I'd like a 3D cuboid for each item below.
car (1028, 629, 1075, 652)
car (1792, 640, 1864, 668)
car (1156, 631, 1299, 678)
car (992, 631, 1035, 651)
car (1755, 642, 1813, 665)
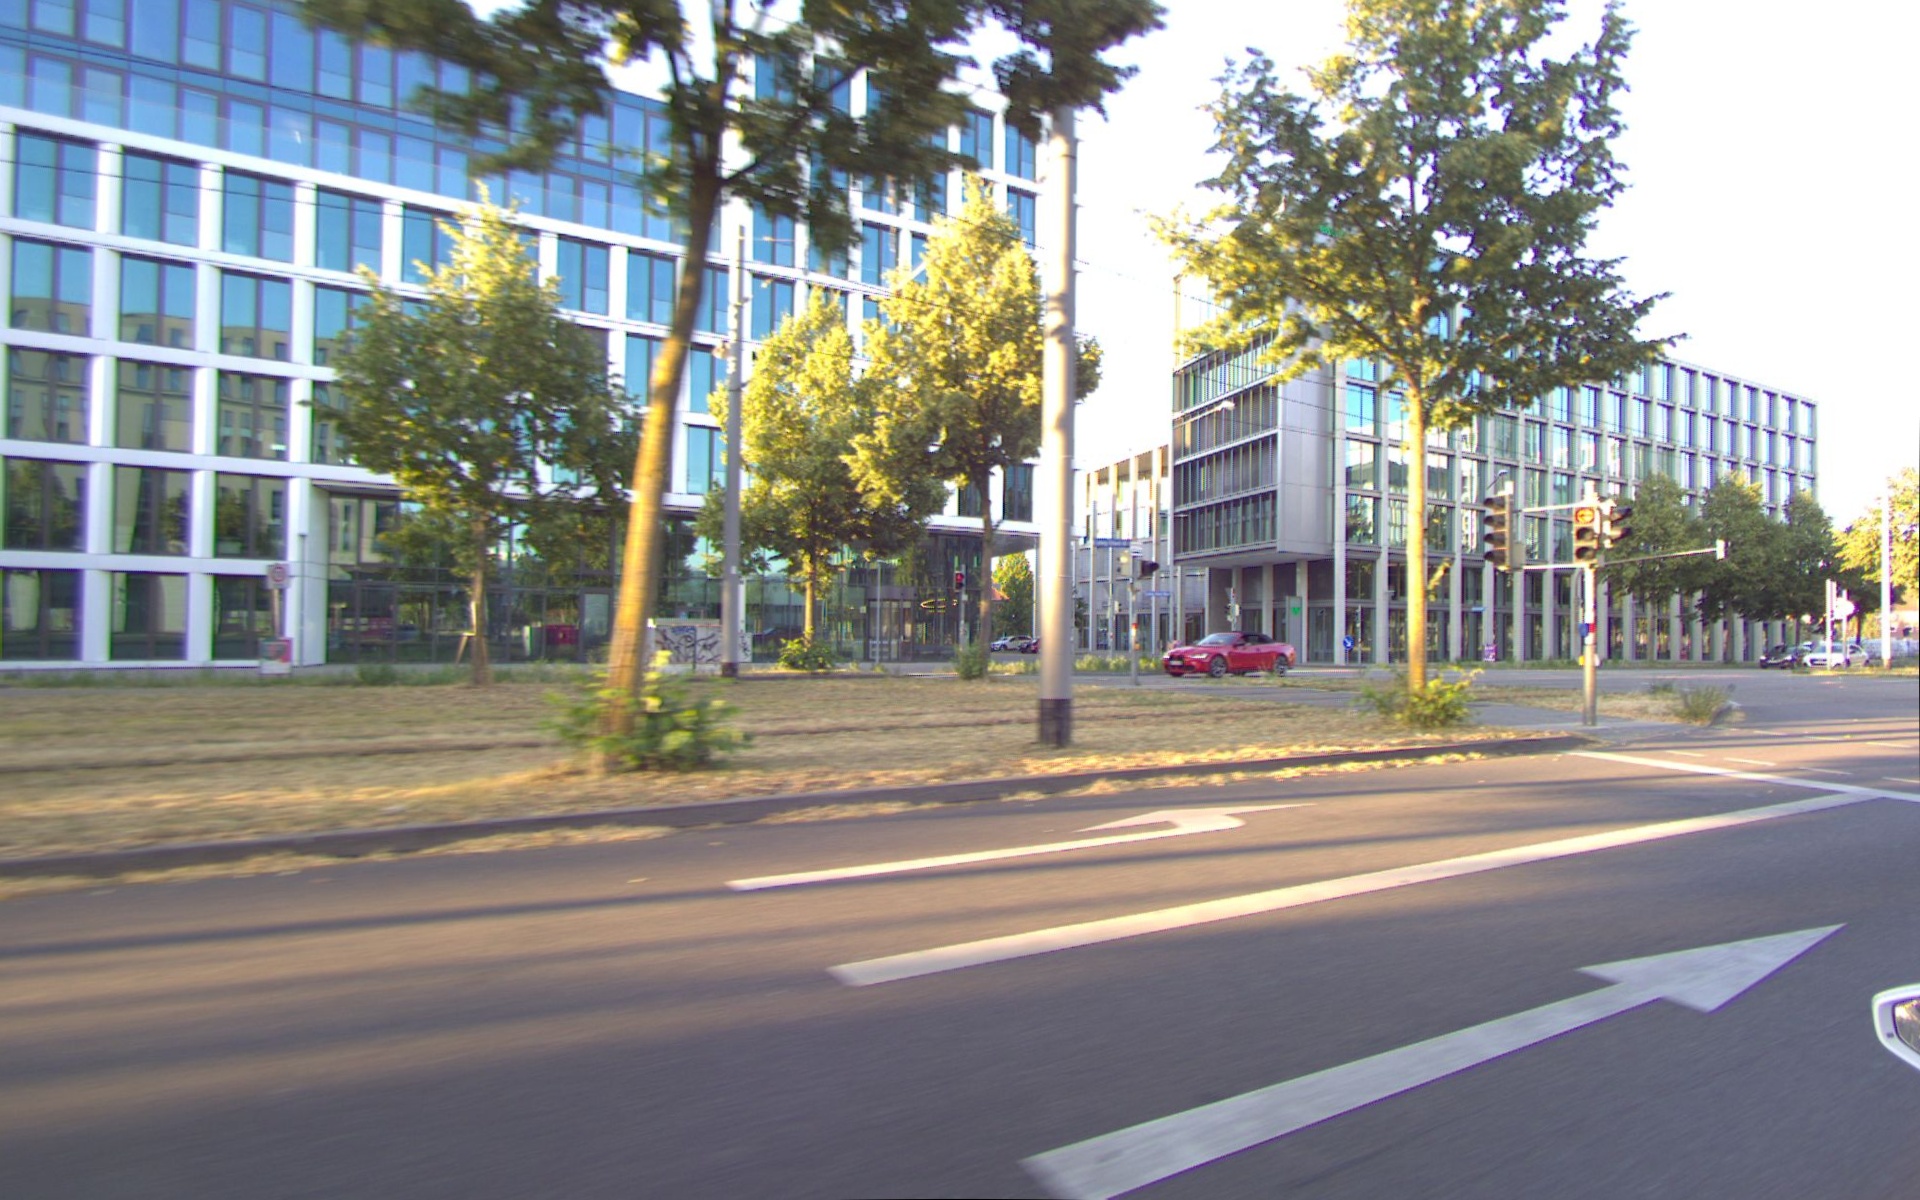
[{"bbox_3d":[8.543,3.783,93.891,3.936,2.040,1.993,1,-1,-17],"label":"car"},{"bbox_3d":[44.043,2.713,50.940,3.630,1.350,1.777,2,-2,-32],"label":"car"},{"bbox_3d":[8.300,1.659,31.032,4.477,1.350,1.648,1,-1,-32],"label":"car"},{"bbox_3d":[5.491,4.180,103.134,3.936,2.040,1.993,1,-1,-17],"label":"car"},{"bbox_3d":[50.025,3.238,60.939,3.630,1.350,1.648,2,-2,-32],"label":"car"}]
